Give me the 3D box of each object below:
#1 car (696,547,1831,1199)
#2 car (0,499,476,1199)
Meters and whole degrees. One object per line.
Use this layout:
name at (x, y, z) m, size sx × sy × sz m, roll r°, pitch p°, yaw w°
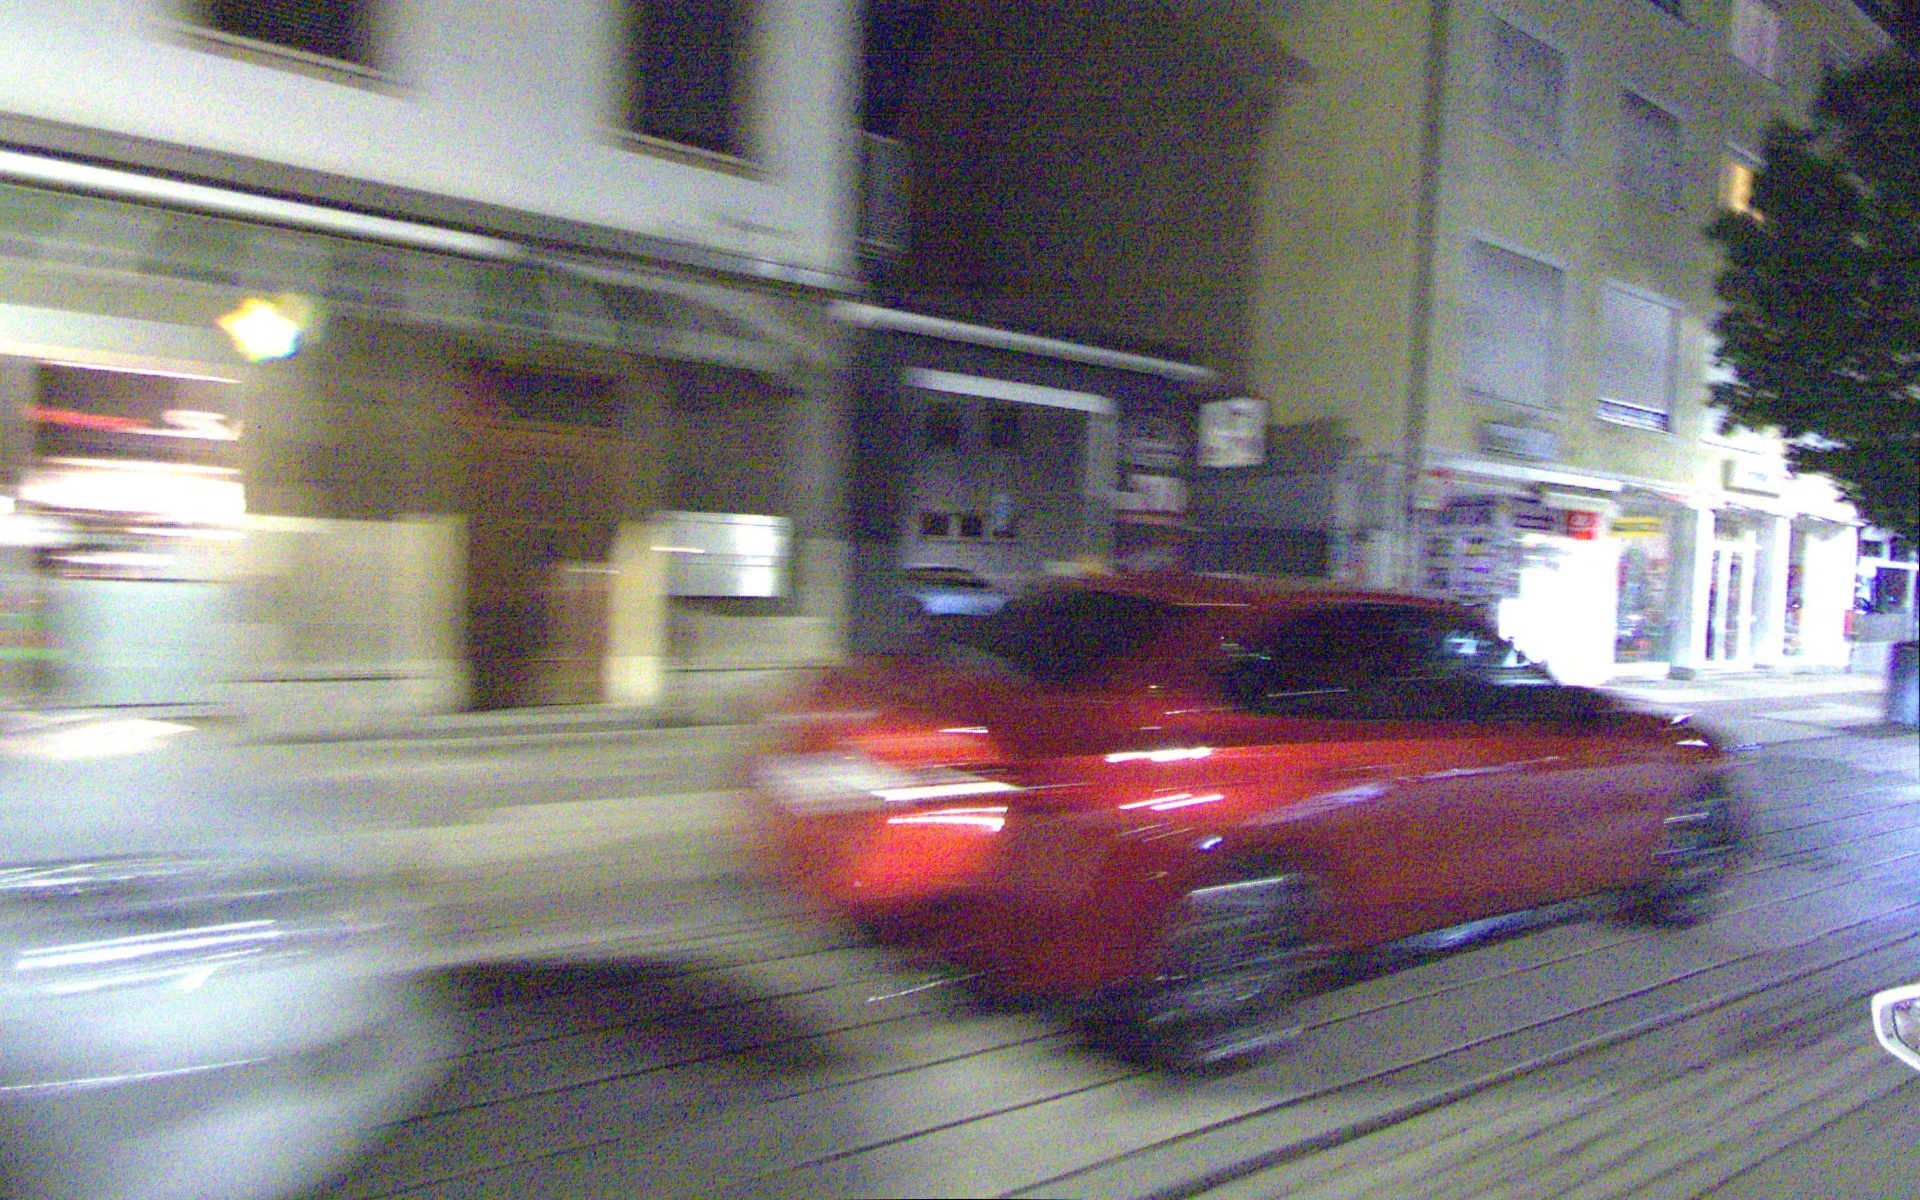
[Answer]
car at (1.564, 0.663, 4.511) m, size 4.950 × 1.508 × 2.009 m, roll 1°, pitch 4°, yaw -31°
car at (-3.035, 0.522, 1.765) m, size 3.802 × 1.497 × 1.719 m, roll 1°, pitch 2°, yaw -31°
